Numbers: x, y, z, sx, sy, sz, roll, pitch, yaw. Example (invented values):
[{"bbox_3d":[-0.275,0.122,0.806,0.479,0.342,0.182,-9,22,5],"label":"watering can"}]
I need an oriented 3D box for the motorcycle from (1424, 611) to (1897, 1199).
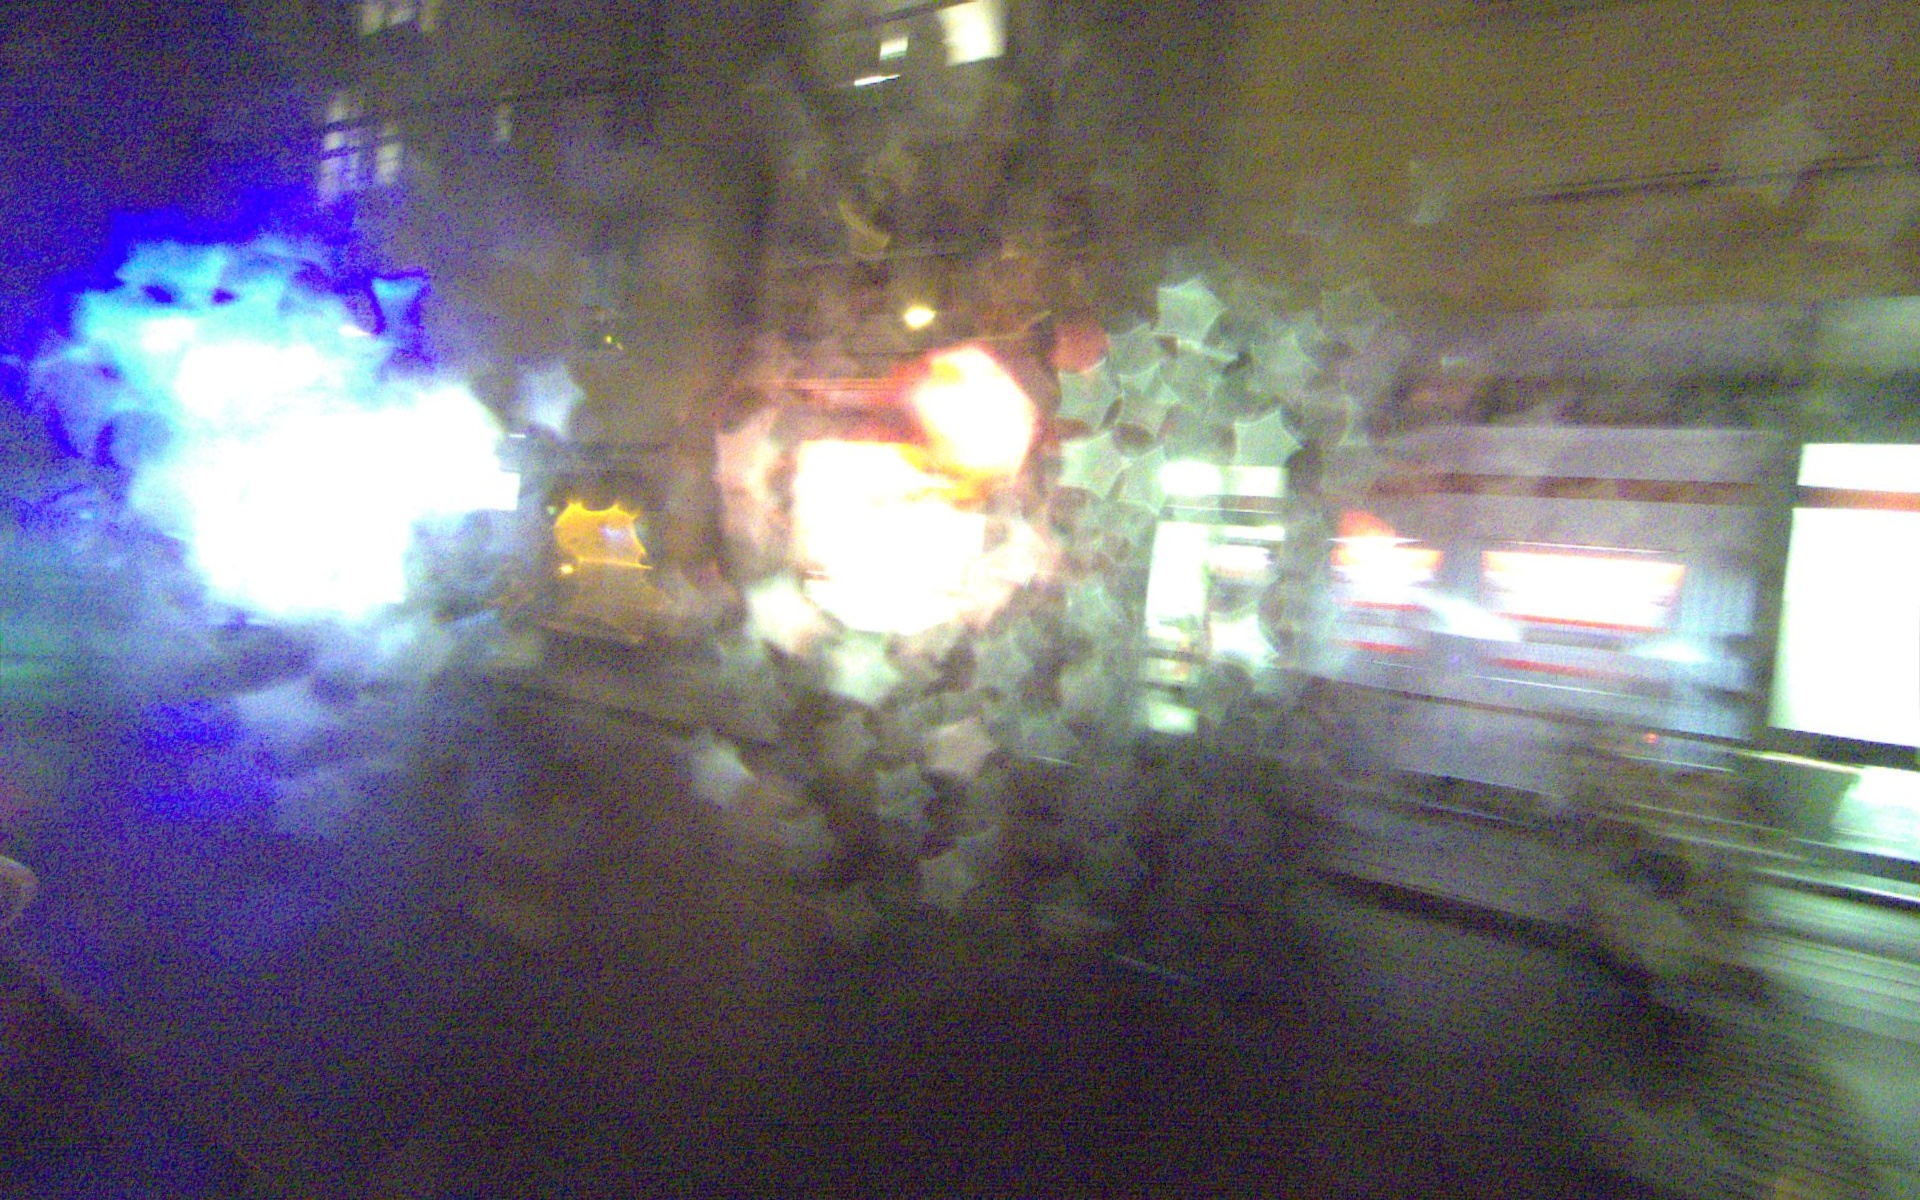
[{"bbox_3d":[2.321,0.879,3.557,0.852,1.569,2.171,7,4,31],"label":"motorcycle"}]

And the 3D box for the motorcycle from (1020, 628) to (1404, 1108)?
[{"bbox_3d":[1.183,0.864,4.227,0.852,1.337,2.171,7,4,31],"label":"motorcycle"}]

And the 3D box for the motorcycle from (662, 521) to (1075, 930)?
[{"bbox_3d":[-0.333,0.489,5.224,0.852,1.611,2.287,7,4,31],"label":"motorcycle"}]

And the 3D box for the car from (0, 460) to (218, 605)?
[{"bbox_3d":[-11.190,-0.814,11.087,1.750,1.552,4.511,7,4,31],"label":"car"}]

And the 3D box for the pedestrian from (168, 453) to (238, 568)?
[{"bbox_3d":[-12.711,-1.495,16.894,0.614,1.813,0.702,9,4,35],"label":"pedestrian"}]

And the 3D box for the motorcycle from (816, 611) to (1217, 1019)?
[{"bbox_3d":[0.394,0.780,4.687,0.852,1.337,2.171,7,4,31],"label":"motorcycle"}]
